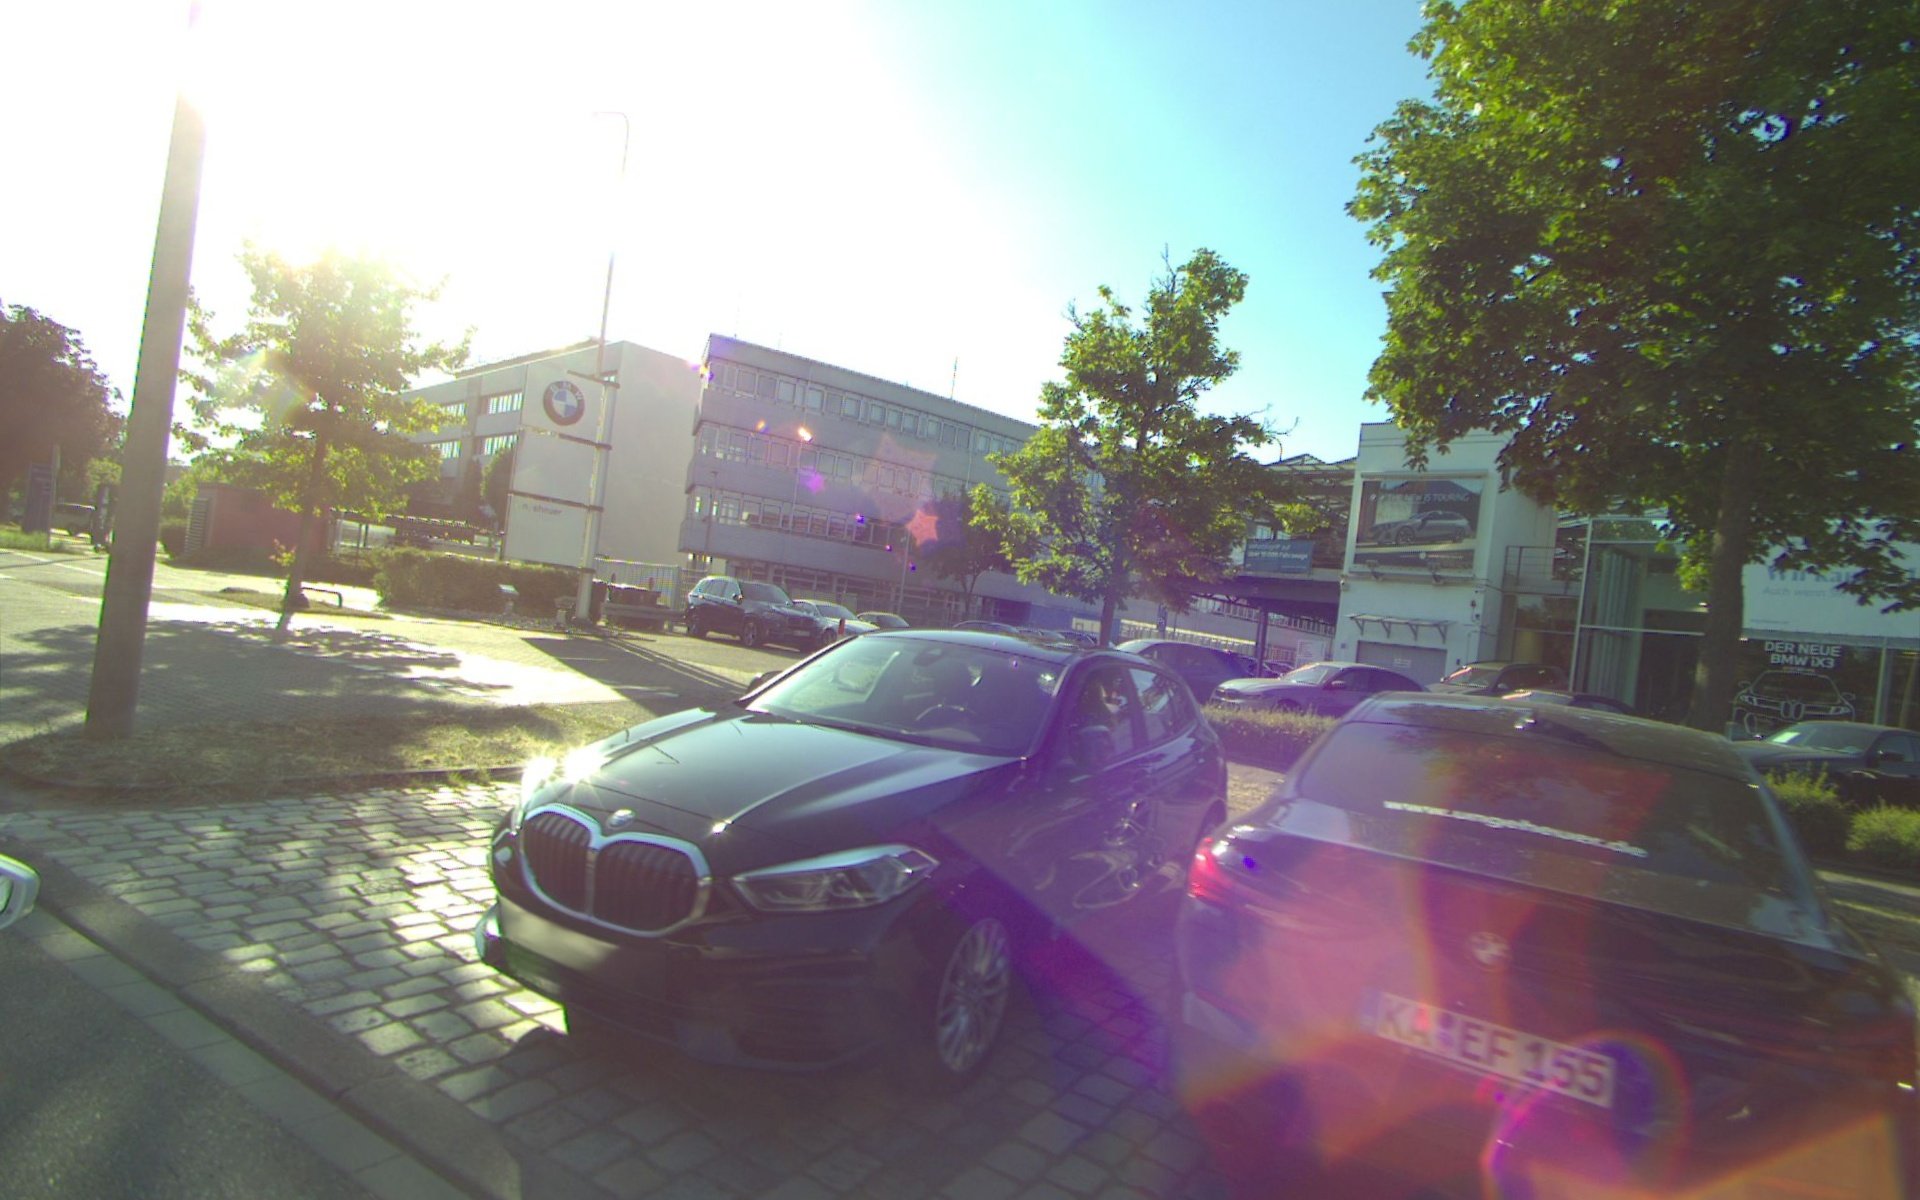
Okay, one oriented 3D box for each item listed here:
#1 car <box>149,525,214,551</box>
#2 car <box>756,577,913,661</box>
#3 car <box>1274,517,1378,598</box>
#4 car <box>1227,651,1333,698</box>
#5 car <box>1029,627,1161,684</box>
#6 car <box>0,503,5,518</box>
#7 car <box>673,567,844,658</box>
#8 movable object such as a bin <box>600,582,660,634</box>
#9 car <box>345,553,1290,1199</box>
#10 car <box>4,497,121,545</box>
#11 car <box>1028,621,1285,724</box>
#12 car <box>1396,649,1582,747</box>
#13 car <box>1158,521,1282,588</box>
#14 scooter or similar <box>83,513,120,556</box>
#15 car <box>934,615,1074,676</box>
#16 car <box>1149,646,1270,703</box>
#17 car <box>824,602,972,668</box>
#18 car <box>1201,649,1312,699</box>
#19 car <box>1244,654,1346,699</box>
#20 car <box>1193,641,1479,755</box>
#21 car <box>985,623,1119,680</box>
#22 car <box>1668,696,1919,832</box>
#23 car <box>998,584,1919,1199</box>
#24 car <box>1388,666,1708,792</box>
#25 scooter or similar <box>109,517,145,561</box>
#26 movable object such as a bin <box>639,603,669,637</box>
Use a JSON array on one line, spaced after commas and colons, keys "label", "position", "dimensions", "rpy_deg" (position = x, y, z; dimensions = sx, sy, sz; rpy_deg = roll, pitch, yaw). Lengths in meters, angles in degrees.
[{"label": "car", "position": [-64.625, -5.114, 83.595], "dimensions": [1.734, 1.545, 4.307], "rpy_deg": [7, -1, 2]}, {"label": "car", "position": [-3.681, 0.506, 28.857], "dimensions": [2.026, 1.849, 4.504], "rpy_deg": [8, -1, -44]}, {"label": "car", "position": [13.405, -1.513, 36.703], "dimensions": [1.973, 2.124, 4.187], "rpy_deg": [7, -4, 42]}, {"label": "car", "position": [15.923, 3.718, 50.192], "dimensions": [4.497, 1.693, 2.029], "rpy_deg": [6, -1, 41]}, {"label": "car", "position": [4.998, 2.052, 37.686], "dimensions": [2.026, 1.472, 4.504], "rpy_deg": [8, -1, -44]}, {"label": "car", "position": [-115.895, -10.985, 118.631], "dimensions": [2.032, 1.724, 4.427], "rpy_deg": [6, -4, 43]}, {"label": "car", "position": [-5.496, 0.284, 26.980], "dimensions": [2.026, 1.849, 4.915], "rpy_deg": [8, -1, -44]}, {"label": "movable object such as a bin", "position": [-9.497, 0.235, 28.948], "dimensions": [1.022, 1.283, 1.117], "rpy_deg": [6, -1, 37]}, {"label": "car", "position": [0.007, 0.850, 4.772], "dimensions": [1.999, 1.420, 4.491], "rpy_deg": [7, -2, 30]}, {"label": "car", "position": [-53.717, -4.708, 60.280], "dimensions": [4.865, 1.956, 2.000], "rpy_deg": [9, -1, -2]}, {"label": "car", "position": [4.023, 1.482, 20.697], "dimensions": [4.721, 1.481, 1.992], "rpy_deg": [7, -1, -19]}, {"label": "car", "position": [14.212, 2.619, 27.064], "dimensions": [4.123, 2.037, 1.992], "rpy_deg": [8, -1, -19]}, {"label": "car", "position": [10.333, -1.822, 40.125], "dimensions": [4.144, 2.124, 1.993], "rpy_deg": [7, -3, 42]}, {"label": "scooter or similar", "position": [-28.446, -2.178, 33.319], "dimensions": [1.366, 1.287, 0.520], "rpy_deg": [6, -1, 36]}, {"label": "car", "position": [1.423, 1.516, 34.223], "dimensions": [2.026, 1.449, 4.504], "rpy_deg": [8, -1, -44]}, {"label": "car", "position": [10.741, 3.187, 43.420], "dimensions": [4.497, 1.811, 2.029], "rpy_deg": [6, -1, 41]}, {"label": "car", "position": [-1.983, 1.050, 30.995], "dimensions": [2.026, 1.449, 4.504], "rpy_deg": [8, -2, -44]}, {"label": "car", "position": [14.034, 3.504, 47.825], "dimensions": [4.497, 1.693, 2.029], "rpy_deg": [6, -1, 41]}, {"label": "car", "position": [17.400, 3.948, 52.357], "dimensions": [4.497, 1.693, 2.029], "rpy_deg": [6, -1, 41]}, {"label": "car", "position": [7.027, 1.829, 18.868], "dimensions": [4.721, 1.481, 2.038], "rpy_deg": [7, -1, -19]}, {"label": "car", "position": [3.248, 1.839, 36.312], "dimensions": [2.026, 1.449, 4.504], "rpy_deg": [8, -2, -44]}, {"label": "car", "position": [13.259, 2.494, 14.959], "dimensions": [4.721, 1.481, 1.992], "rpy_deg": [7, -1, -19]}, {"label": "car", "position": [2.187, 1.040, 4.063], "dimensions": [2.000, 1.568, 4.489], "rpy_deg": [7, -2, 31]}, {"label": "car", "position": [9.903, 2.171, 16.998], "dimensions": [4.721, 1.481, 1.992], "rpy_deg": [7, -1, -19]}, {"label": "scooter or similar", "position": [-26.965, -1.987, 32.559], "dimensions": [1.182, 1.287, 0.520], "rpy_deg": [7, 0, 36]}, {"label": "movable object such as a bin", "position": [-9.131, 0.590, 30.009], "dimensions": [0.596, 0.932, 0.504], "rpy_deg": [6, -1, 40]}]
